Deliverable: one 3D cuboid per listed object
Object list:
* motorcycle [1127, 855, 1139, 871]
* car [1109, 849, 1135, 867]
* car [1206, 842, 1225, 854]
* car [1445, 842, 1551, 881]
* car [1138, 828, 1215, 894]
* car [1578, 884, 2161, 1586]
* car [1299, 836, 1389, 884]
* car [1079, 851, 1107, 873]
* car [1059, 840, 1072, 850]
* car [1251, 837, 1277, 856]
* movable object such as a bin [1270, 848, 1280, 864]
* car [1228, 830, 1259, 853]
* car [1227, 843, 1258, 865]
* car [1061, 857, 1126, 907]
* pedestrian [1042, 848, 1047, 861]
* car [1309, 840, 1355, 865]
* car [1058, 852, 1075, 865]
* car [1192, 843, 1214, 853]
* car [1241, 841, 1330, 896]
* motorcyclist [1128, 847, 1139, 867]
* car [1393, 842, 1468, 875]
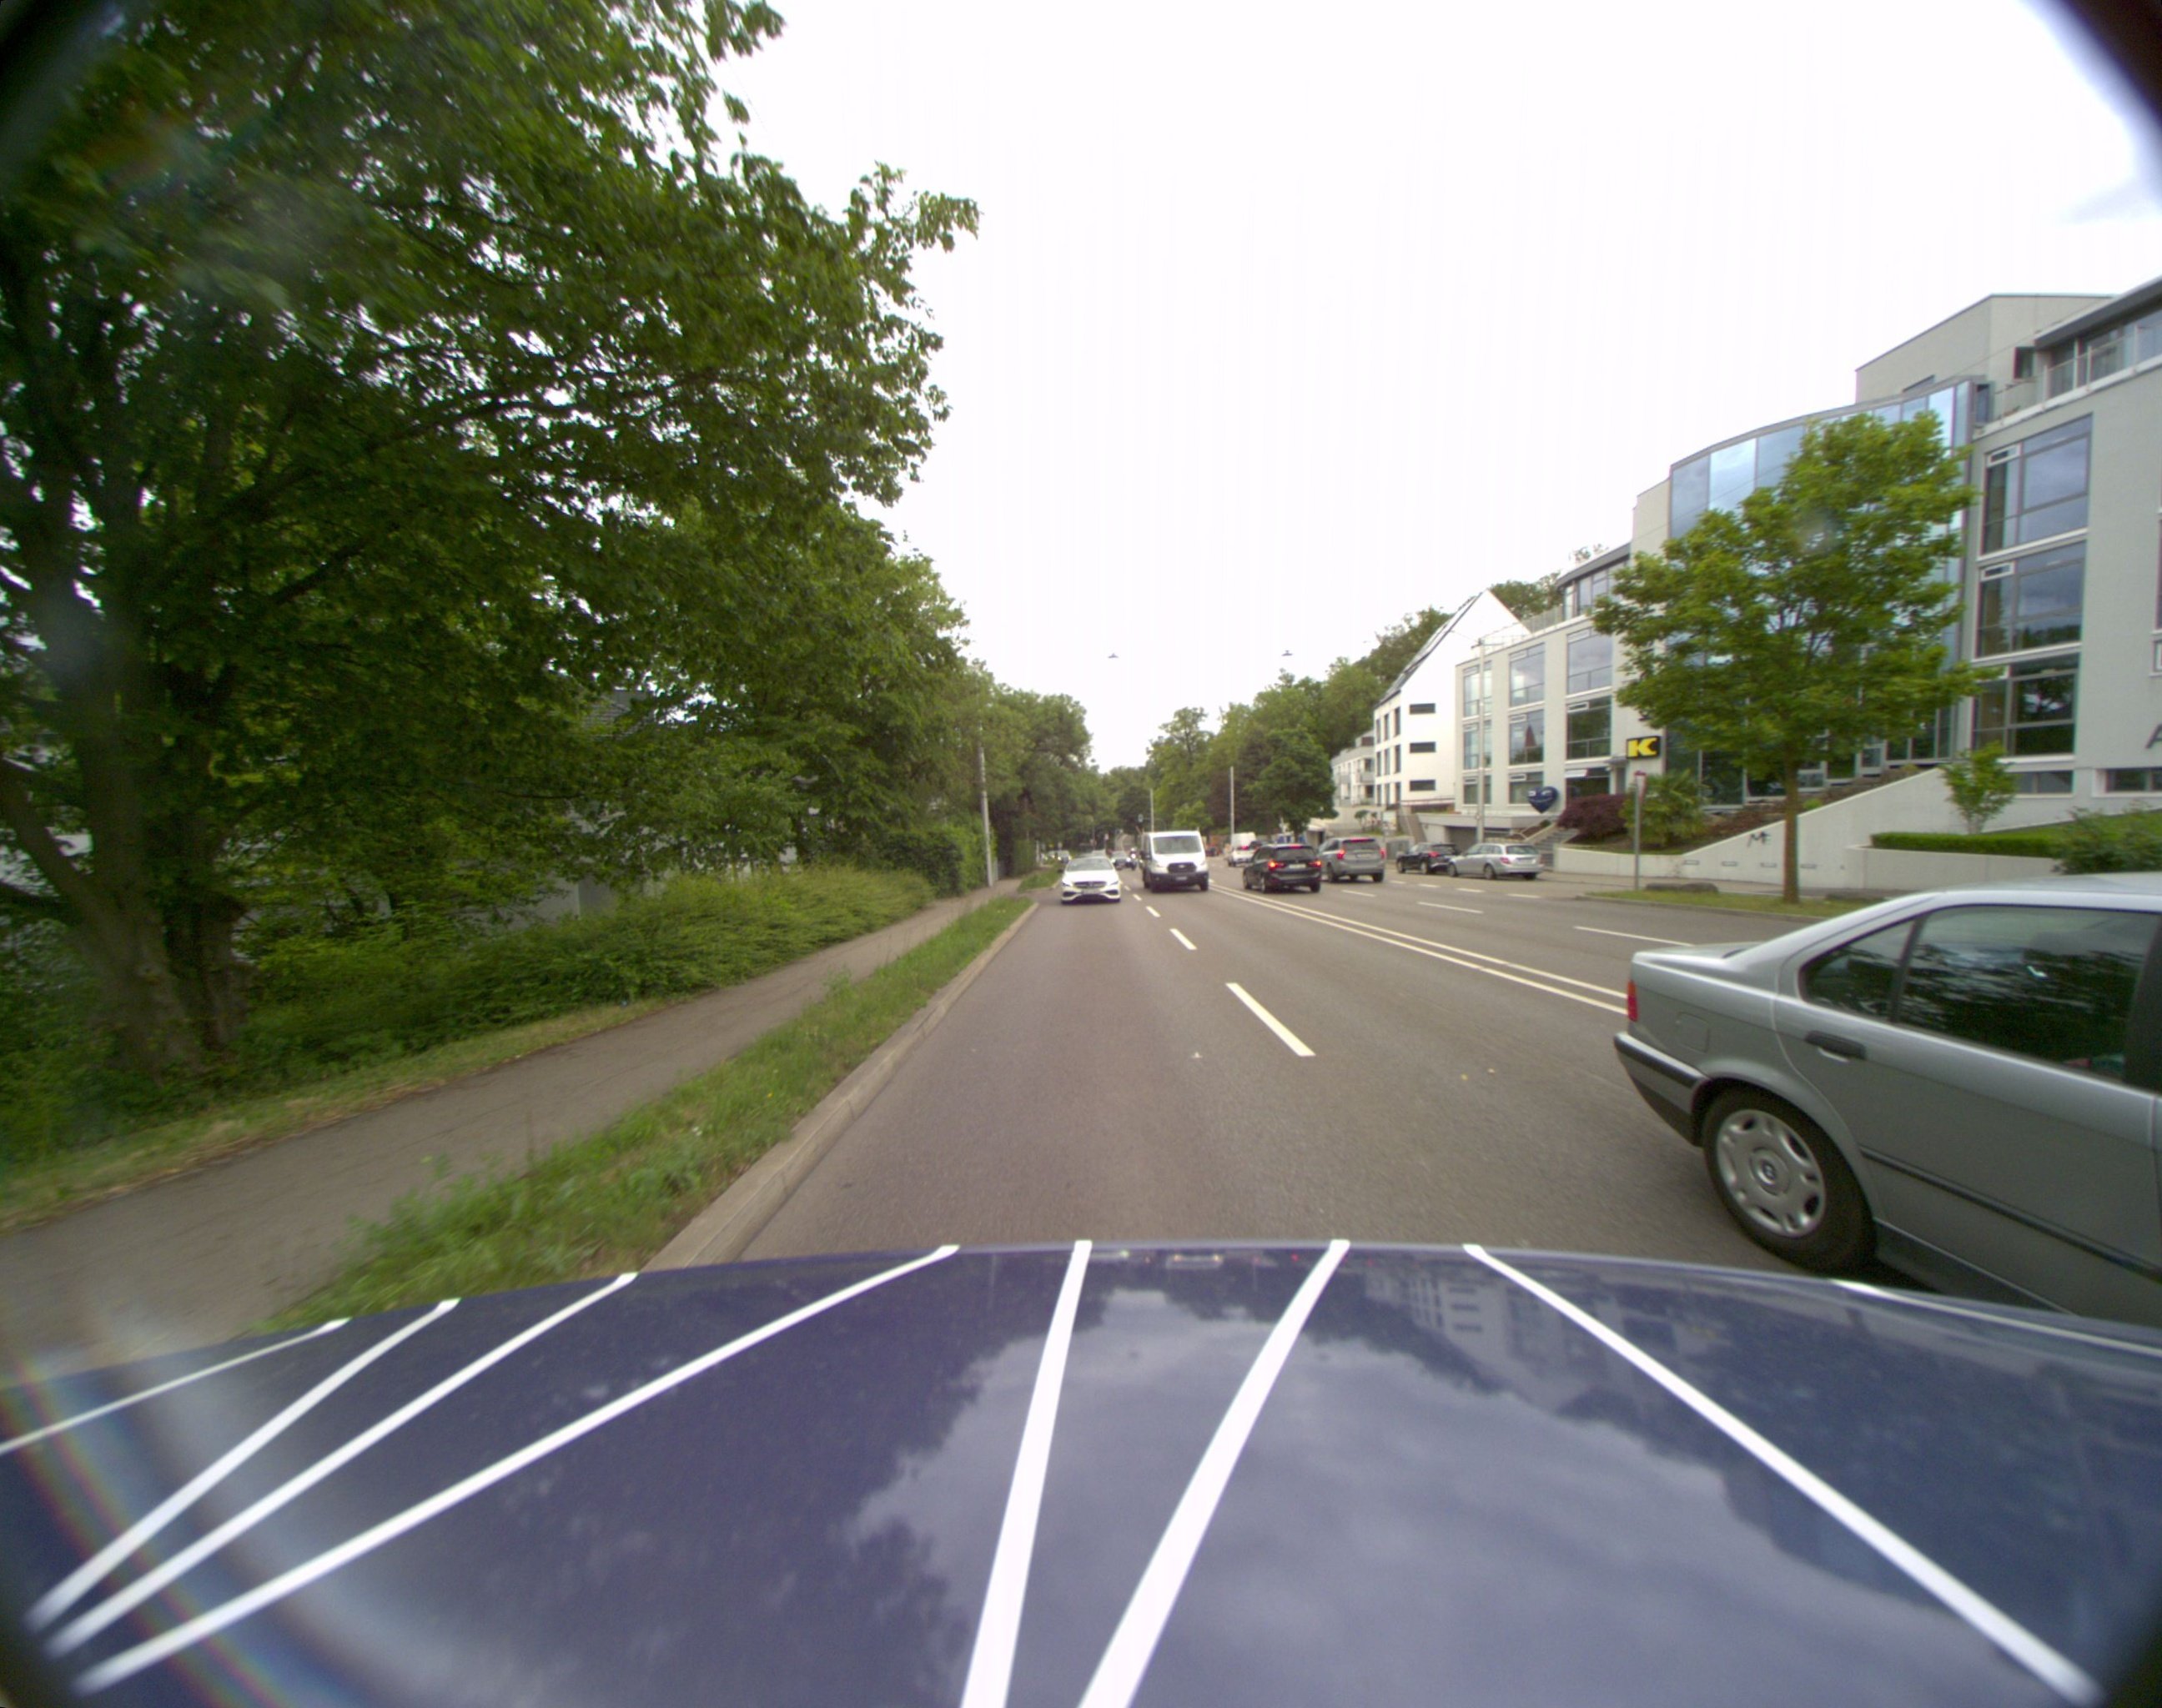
[{"bbox_3d":[3.992,0.666,58.145,0.574,1.120,2.295,-4,1,-3],"label":"motorcycle"},{"bbox_3d":[3.601,0.339,67.188,1.999,1.540,3.999,-2,0,-1],"label":"car"},{"bbox_3d":[16.952,-0.752,96.136,1.582,1.434,3.293,-2,1,-4],"label":"car"},{"bbox_3d":[16.346,0.240,30.068,1.677,1.420,4.416,1,1,-2],"label":"car"},{"bbox_3d":[3.470,0.238,28.892,1.999,2.161,6.267,-2,0,-1],"label":"car"},{"bbox_3d":[3.154,0.887,1.246,1.638,1.375,4.619,-2,1,0],"label":"car"},{"bbox_3d":[10.283,0.202,30.120,1.768,1.699,4.869,-2,1,-1],"label":"car"},{"bbox_3d":[0.791,0.524,52.901,1.734,1.403,3.999,-2,1,-2],"label":"car"},{"bbox_3d":[-3.065,-1.817,150.800,2.000,1.881,3.997,-2,1,-8],"label":"car"},{"bbox_3d":[17.953,-0.755,74.577,1.810,1.741,4.251,-3,1,5],"label":"car"},{"bbox_3d":[14.142,0.114,55.415,0.589,1.131,0.645,-2,1,7],"label":"movable object such as a bin"},{"bbox_3d":[19.099,-1.500,89.560,1.999,2.512,6.532,-3,1,-2],"label":"car"},{"bbox_3d":[12.182,-0.049,57.538,1.804,1.533,3.923,-2,1,5],"label":"car"},{"bbox_3d":[0.306,0.818,23.985,1.821,1.339,3.999,-2,1,-1],"label":"car"},{"bbox_3d":[-5.315,0.030,110.405,0.513,1.824,0.494,-2,1,-1],"label":"pedestrian"},{"bbox_3d":[15.773,-0.115,47.909,1.672,1.495,4.238,-1,1,3],"label":"car"},{"bbox_3d":[-2.039,0.583,103.921,1.999,1.647,4.433,-2,1,-5],"label":"car"},{"bbox_3d":[18.927,-0.939,118.199,3.301,1.434,1.579,-3,1,-40],"label":"car"},{"bbox_3d":[6.628,0.416,25.098,1.768,1.583,4.365,-2,1,1],"label":"car"},{"bbox_3d":[4.020,0.255,57.833,0.619,1.463,0.930,-4,1,-3],"label":"motorcyclist"},{"bbox_3d":[16.275,0.153,35.571,1.677,1.420,4.089,-1,1,1],"label":"car"}]
